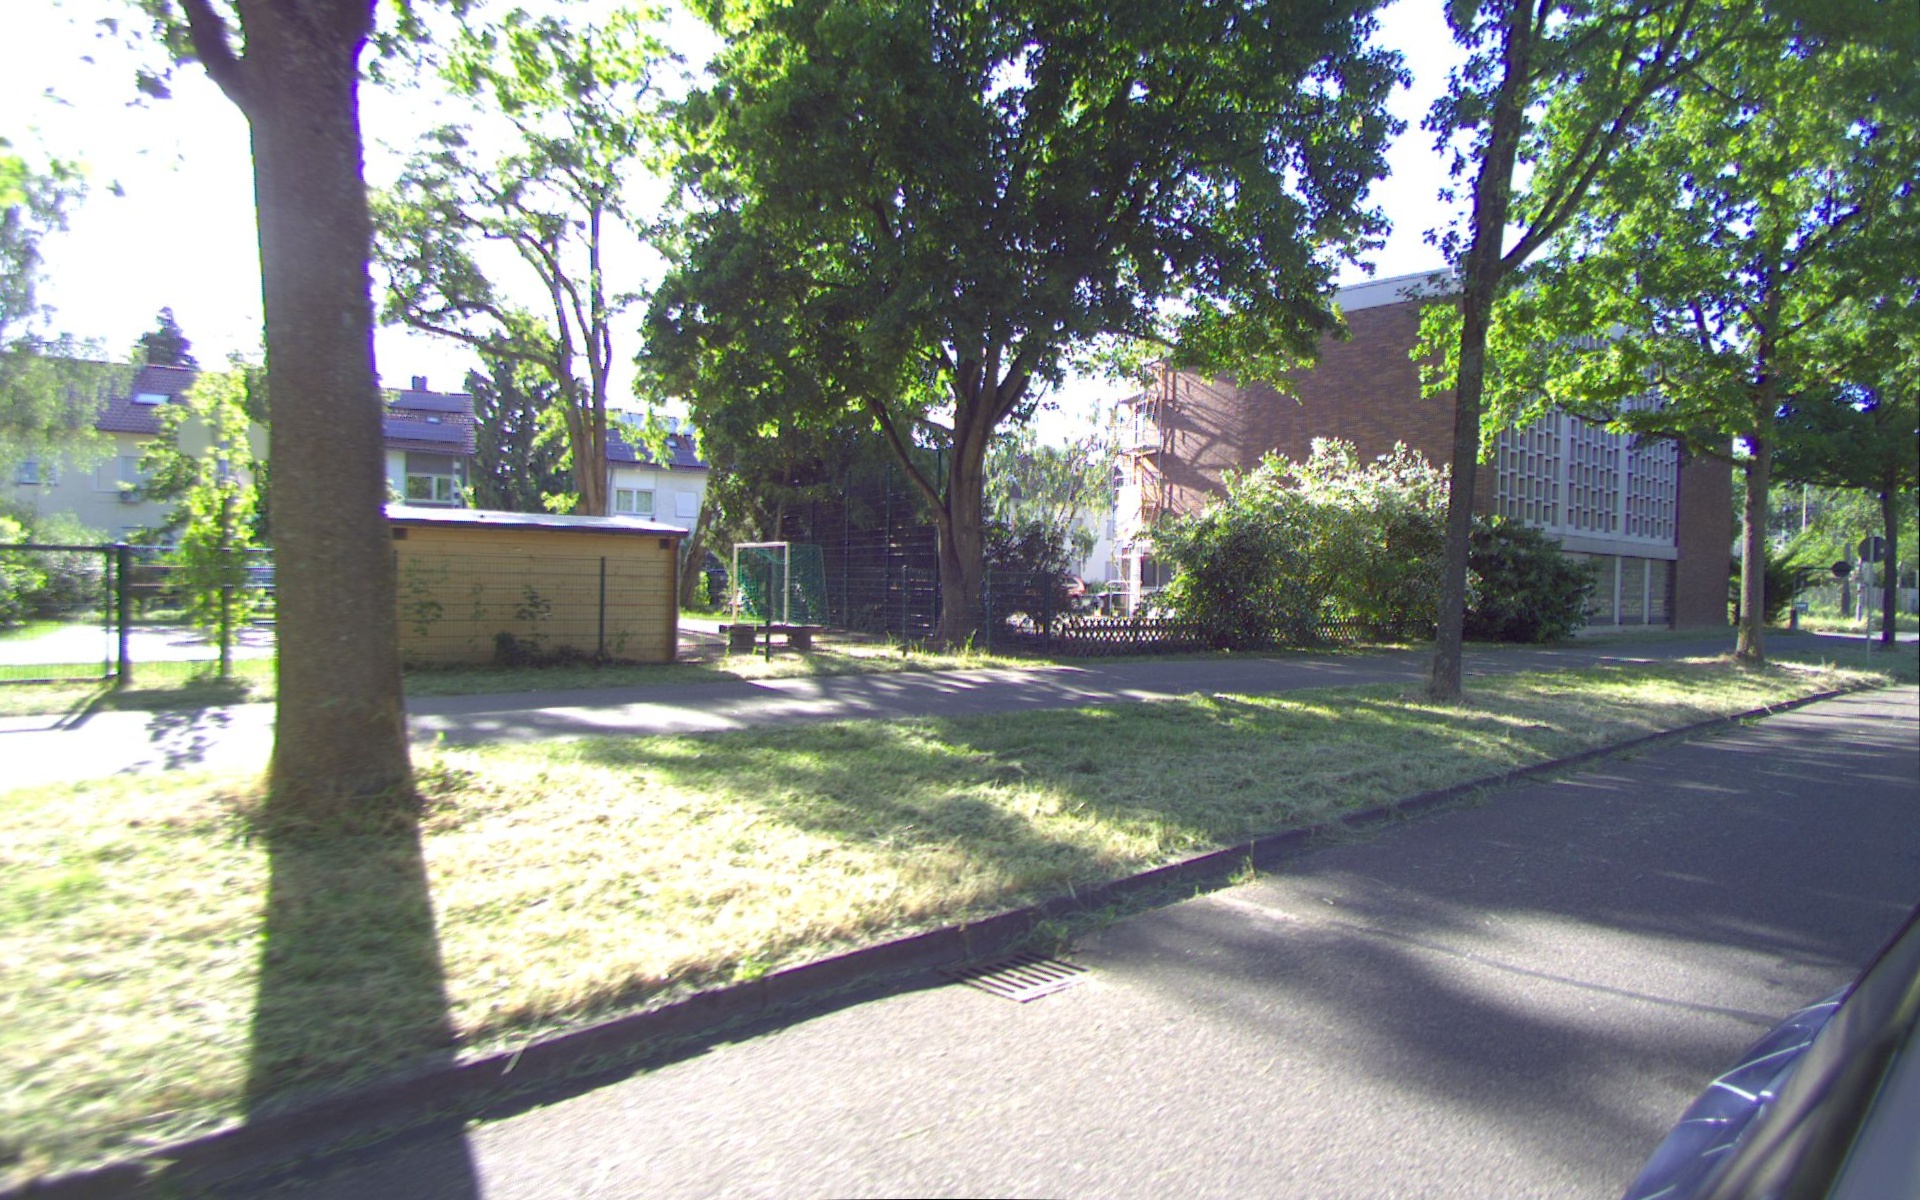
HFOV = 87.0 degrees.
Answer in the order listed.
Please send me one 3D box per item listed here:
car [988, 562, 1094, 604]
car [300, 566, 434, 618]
[{"bbox_3d":[4.199,-0.911,52.284,5.163,2.038,2.304,-1,3,-33],"label":"car"},{"bbox_3d":[-21.460,-0.333,36.790,3.916,1.771,1.909,-1,3,-21],"label":"car"}]
